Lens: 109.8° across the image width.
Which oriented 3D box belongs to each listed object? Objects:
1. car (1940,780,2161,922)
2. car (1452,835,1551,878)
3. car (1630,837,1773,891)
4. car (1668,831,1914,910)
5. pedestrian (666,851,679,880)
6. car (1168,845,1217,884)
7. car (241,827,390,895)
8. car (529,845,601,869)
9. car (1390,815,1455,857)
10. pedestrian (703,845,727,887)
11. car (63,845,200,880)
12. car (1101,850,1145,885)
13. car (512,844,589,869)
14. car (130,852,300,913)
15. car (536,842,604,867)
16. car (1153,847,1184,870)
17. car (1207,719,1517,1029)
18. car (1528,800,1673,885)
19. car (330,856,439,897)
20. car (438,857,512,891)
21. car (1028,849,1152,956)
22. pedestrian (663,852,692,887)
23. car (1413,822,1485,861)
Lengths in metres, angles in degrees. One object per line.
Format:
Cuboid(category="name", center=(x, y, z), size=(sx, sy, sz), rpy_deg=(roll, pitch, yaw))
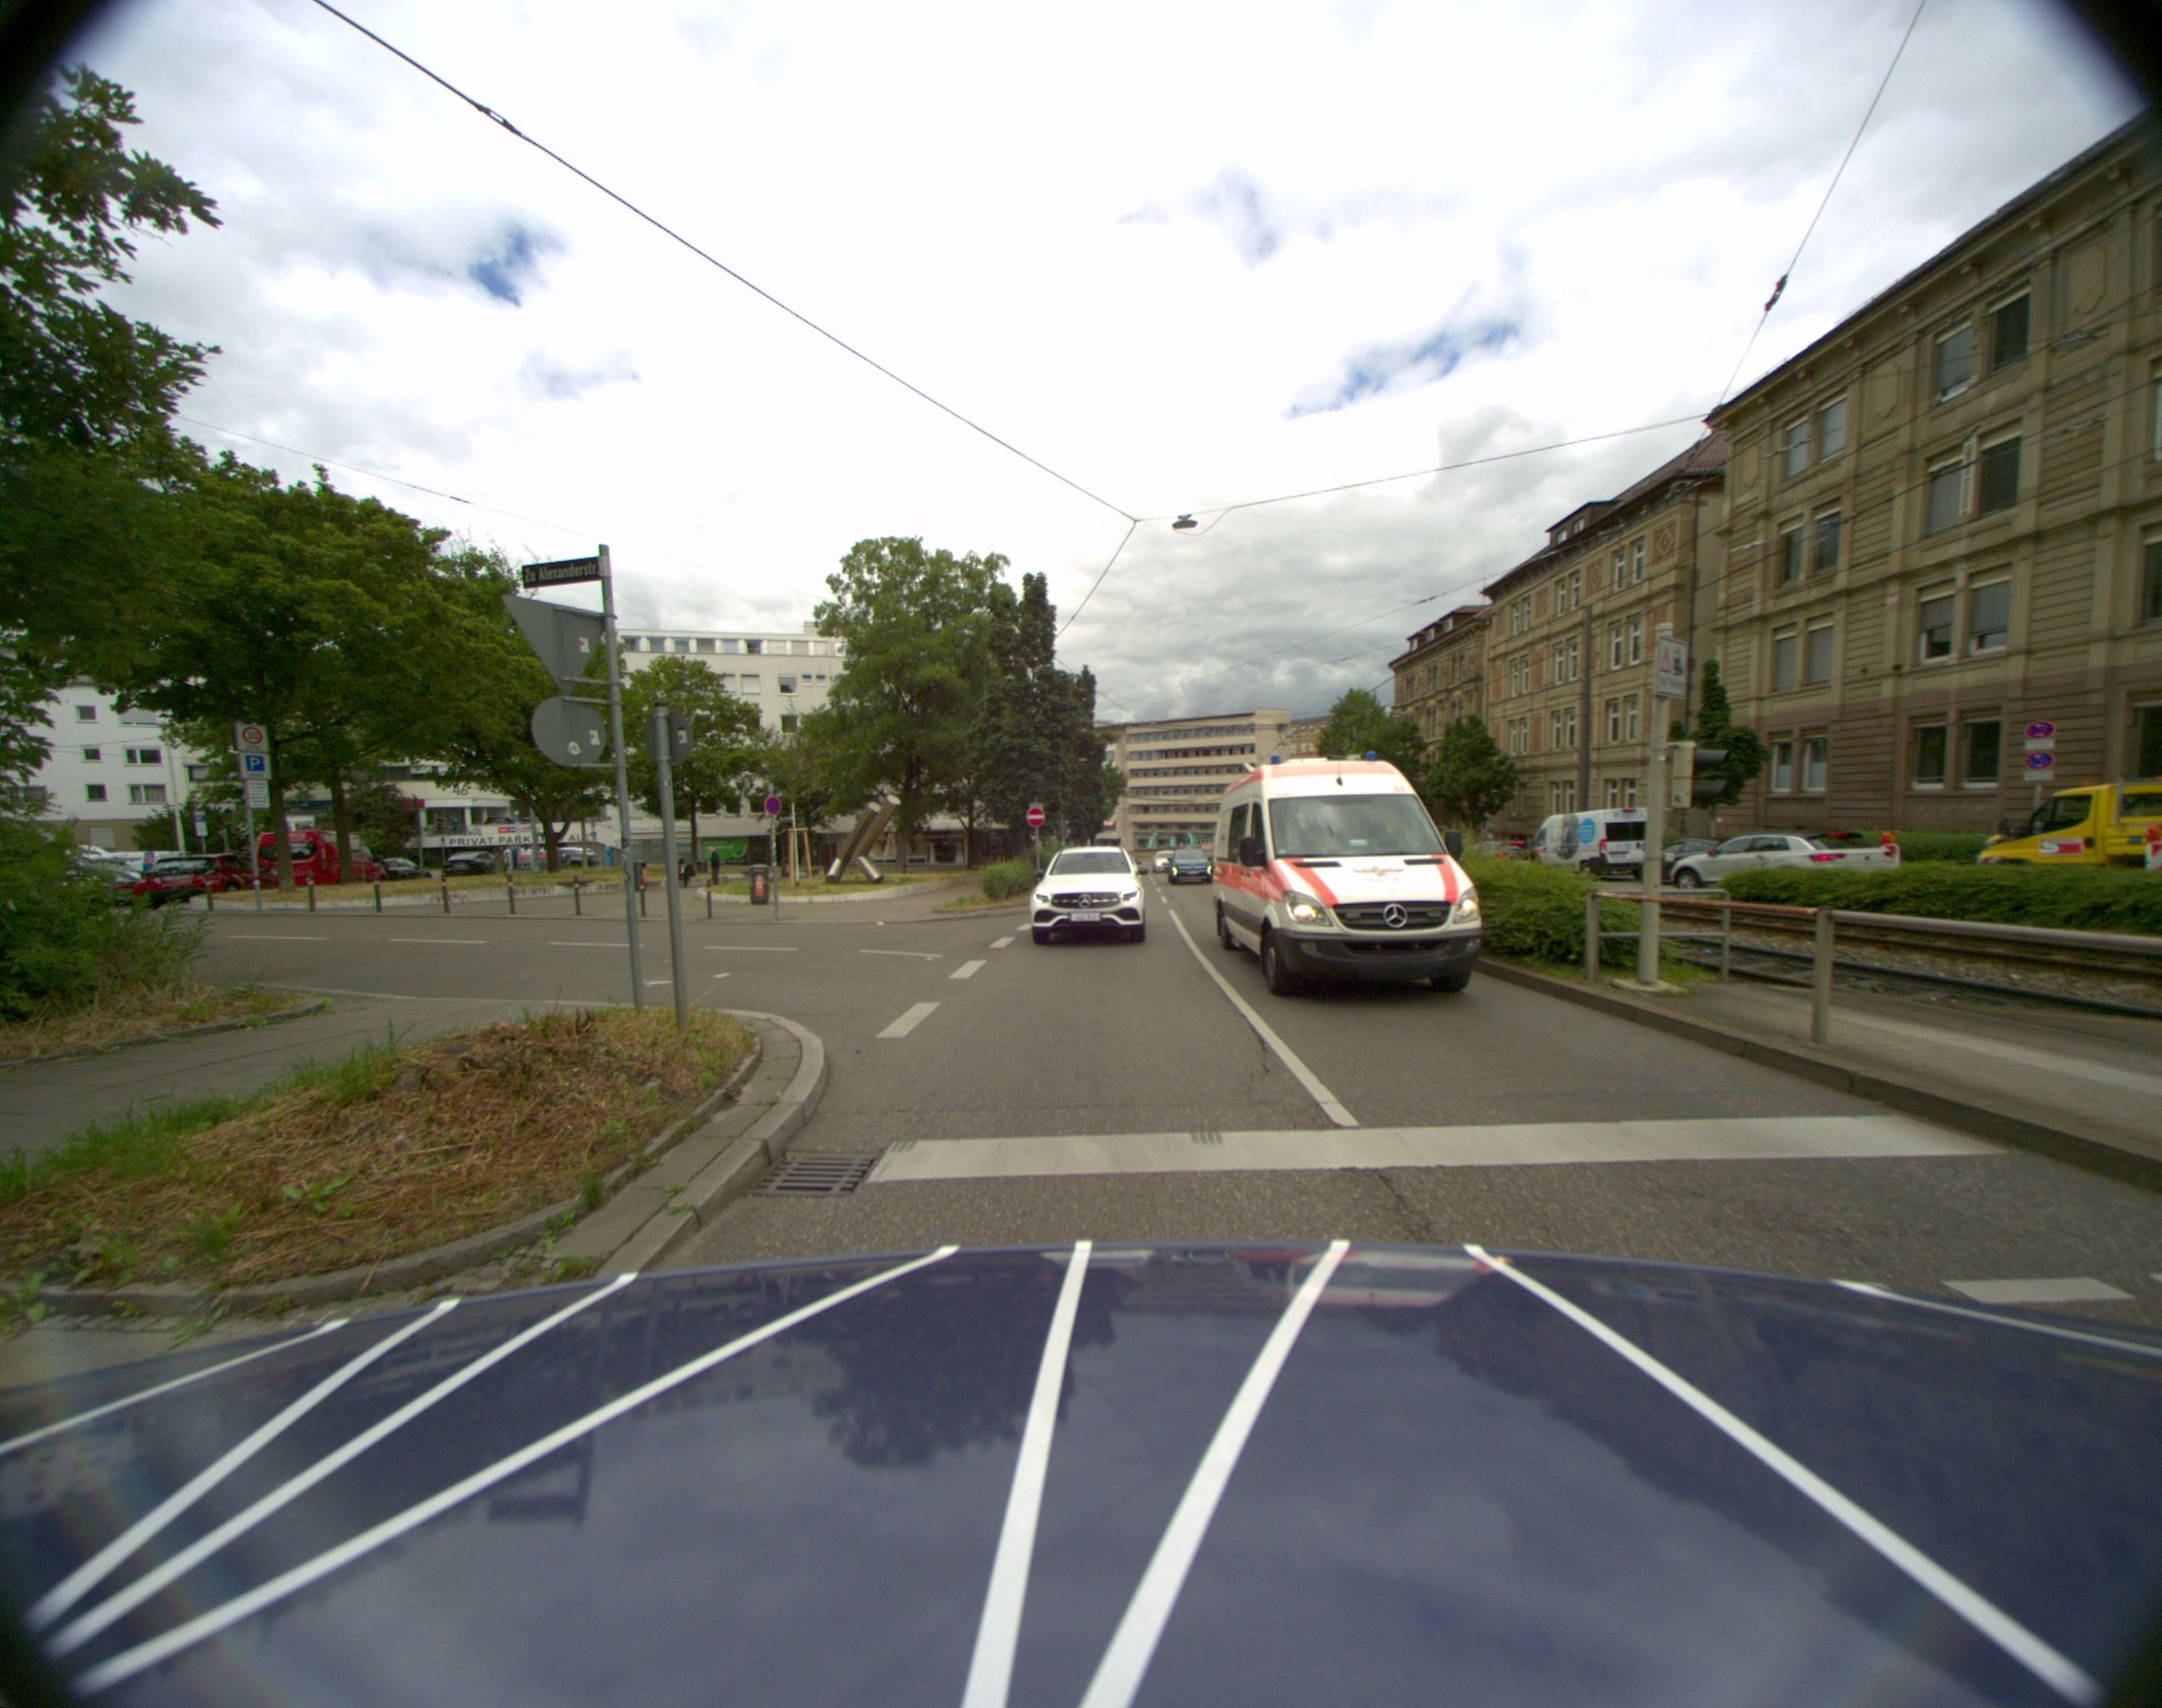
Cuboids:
Cuboid(category="car", center=(19.663, -0.077, 12.944), size=(2.446, 2.422, 6.752), rpy_deg=(-2, 1, 0))
Cuboid(category="car", center=(15.932, 0.079, 29.025), size=(1.870, 1.510, 3.951), rpy_deg=(-1, 1, 5))
Cuboid(category="car", center=(18.359, 0.251, 22.700), size=(1.648, 1.445, 3.566), rpy_deg=(-1, 0, 7))
Cuboid(category="car", center=(15.792, 0.311, 17.233), size=(1.708, 1.558, 3.998), rpy_deg=(-1, 1, -3))
Cuboid(category="pedestrian", center=(-22.207, 0.612, 41.310), size=(0.529, 1.525, 0.672), rpy_deg=(-2, 2, -36))
Cuboid(category="car", center=(5.008, 0.414, 34.469), size=(1.930, 1.563, 4.182), rpy_deg=(-3, 1, 6))
Cuboid(category="car", center=(-27.219, 0.205, 27.283), size=(2.130, 2.200, 4.883), rpy_deg=(-1, 1, -25))
Cuboid(category="car", center=(-38.951, 0.217, 57.453), size=(3.999, 1.707, 1.998), rpy_deg=(-1, 1, -6))
Cuboid(category="car", center=(19.488, -0.993, 43.551), size=(2.241, 2.275, 4.001), rpy_deg=(-1, 1, 6))
Cuboid(category="pedestrian", center=(-14.337, 0.460, 29.775), size=(0.727, 1.593, 0.791), rpy_deg=(-1, 2, -20))
Cuboid(category="car", center=(-55.889, 0.488, 44.827), size=(4.784, 1.934, 2.226), rpy_deg=(-1, 1, -8))
Cuboid(category="car", center=(1.942, 0.577, 33.982), size=(1.821, 1.441, 3.854), rpy_deg=(-1, 1, 5))
Cuboid(category="car", center=(-38.052, 0.166, 54.567), size=(3.999, 1.707, 1.998), rpy_deg=(-1, 1, -6))
Cuboid(category="car", center=(-24.691, 0.739, 21.871), size=(1.751, 1.556, 3.709), rpy_deg=(-1, 1, -23))
Cuboid(category="car", center=(-39.980, 0.019, 59.493), size=(4.000, 1.677, 1.688), rpy_deg=(-4, 1, -8))
Cuboid(category="car", center=(6.066, 0.279, 52.519), size=(1.997, 1.543, 4.319), rpy_deg=(-1, 1, 7))
Cuboid(category="car", center=(2.959, 0.161, 9.629), size=(2.038, 2.684, 5.855), rpy_deg=(-1, 1, 4))
Cuboid(category="car", center=(18.718, -0.414, 27.728), size=(2.214, 2.807, 4.784), rpy_deg=(-1, 1, 3))
Cuboid(category="car", center=(-29.328, 0.886, 32.179), size=(2.002, 1.556, 4.407), rpy_deg=(-1, 1, -23))
Cuboid(category="car", center=(-34.141, 1.057, 42.945), size=(2.002, 1.730, 4.775), rpy_deg=(-1, 1, -23))
Cuboid(category="car", center=(0.244, 0.739, 14.067), size=(1.894, 1.610, 4.479), rpy_deg=(-2, 1, 3))
Cuboid(category="pedestrian", center=(-15.415, 0.593, 29.024), size=(0.655, 1.284, 0.685), rpy_deg=(0, 1, 13))
Cuboid(category="car", center=(19.238, -0.674, 39.894), size=(2.320, 1.928, 3.437), rpy_deg=(-1, 1, 6))
